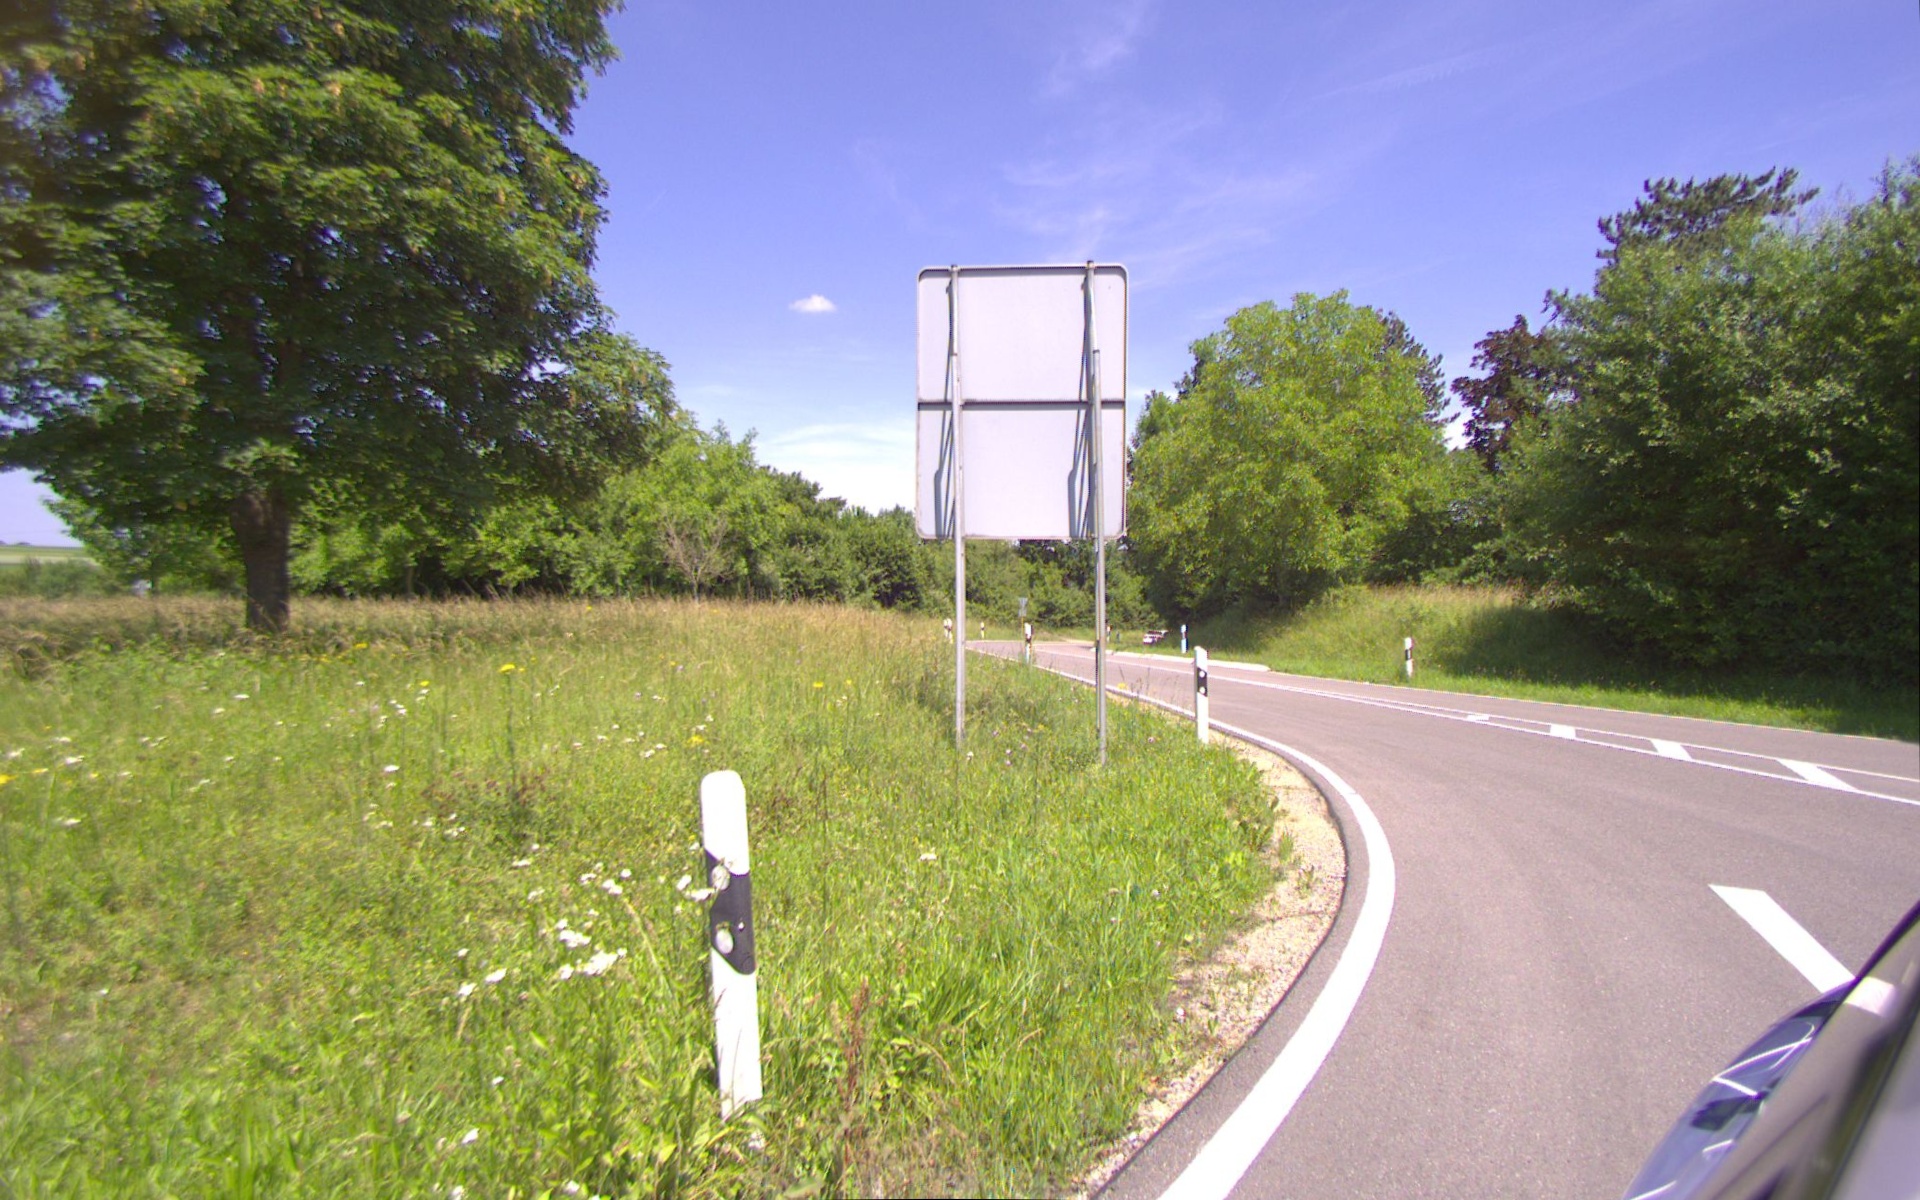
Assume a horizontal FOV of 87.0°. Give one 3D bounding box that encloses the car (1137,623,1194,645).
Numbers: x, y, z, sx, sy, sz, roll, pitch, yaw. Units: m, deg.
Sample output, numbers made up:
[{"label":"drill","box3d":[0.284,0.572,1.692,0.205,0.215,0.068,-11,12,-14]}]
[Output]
[{"label":"car","box3d":[15.123,2.505,74.286,1.801,1.431,5.256,0,-4,39]}]
